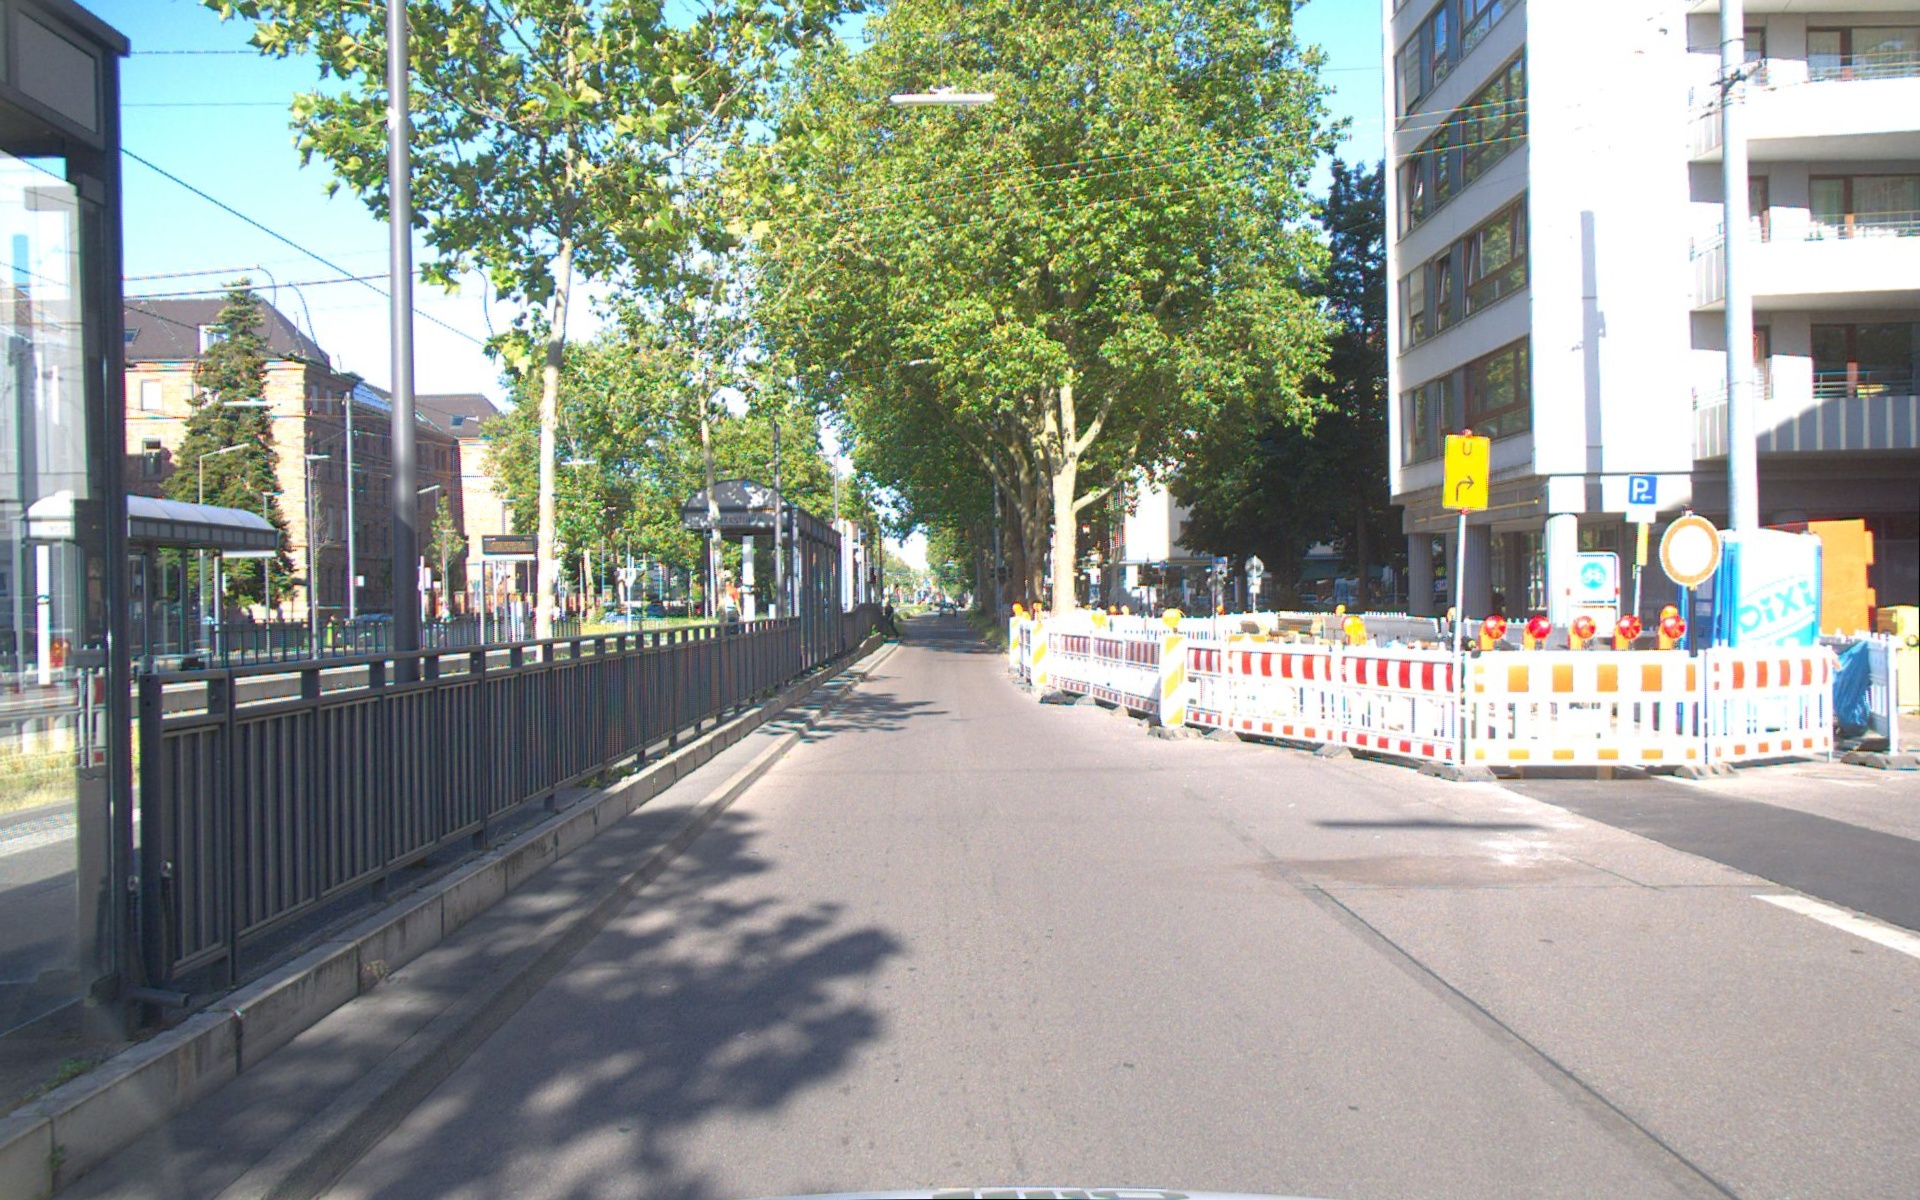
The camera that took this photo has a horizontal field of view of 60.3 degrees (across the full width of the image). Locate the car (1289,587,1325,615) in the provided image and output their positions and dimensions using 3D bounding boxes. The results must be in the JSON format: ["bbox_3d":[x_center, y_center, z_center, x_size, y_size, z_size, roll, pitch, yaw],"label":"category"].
[{"bbox_3d":[21.433,0.054,102.116,1.951,1.656,4.393,-1,0,14],"label":"car"}]

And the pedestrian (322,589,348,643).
[{"bbox_3d":[-24.067,0.602,63.740,0.649,2.049,0.860,-1,0,-1],"label":"pedestrian"}]

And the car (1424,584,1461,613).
[{"bbox_3d":[29.282,-0.085,100.491,1.951,1.698,4.749,-1,0,14],"label":"car"}]

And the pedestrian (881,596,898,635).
[{"bbox_3d":[-3.105,0.681,72.722,0.697,1.710,0.772,-1,0,-2],"label":"pedestrian"}]

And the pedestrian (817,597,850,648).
[{"bbox_3d":[-3.037,0.541,39.818,0.737,1.199,0.812,0,0,-2],"label":"pedestrian"}]

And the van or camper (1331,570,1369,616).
[{"bbox_3d":[23.986,-0.444,101.645,2.101,2.682,5.592,-1,0,15],"label":"van or camper"}]

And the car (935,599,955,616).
[{"bbox_3d":[-1.507,0.759,166.993,1.980,1.691,3.999,-1,0,-1],"label":"car"}]

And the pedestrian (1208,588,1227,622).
[{"bbox_3d":[12.668,0.248,81.351,0.717,1.644,1.035,-1,0,-1],"label":"pedestrian"}]

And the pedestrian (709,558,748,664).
[{"bbox_3d":[-4.551,0.213,32.559,0.654,2.049,0.716,0,0,0],"label":"pedestrian"}]

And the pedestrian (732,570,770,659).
[{"bbox_3d":[-4.304,0.295,34.142,0.668,1.815,0.754,0,0,0],"label":"pedestrian"}]

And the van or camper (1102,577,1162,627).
[{"bbox_3d":[8.338,0.103,80.765,2.244,2.326,5.821,-1,0,-1],"label":"van or camper"}]

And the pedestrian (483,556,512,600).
[{"bbox_3d":[-18.635,-0.883,66.658,0.933,1.766,0.730,-1,0,2],"label":"pedestrian"}]

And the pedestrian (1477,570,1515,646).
[{"bbox_3d":[13.181,0.199,40.654,0.676,1.847,0.665,-1,0,-1],"label":"pedestrian"}]
